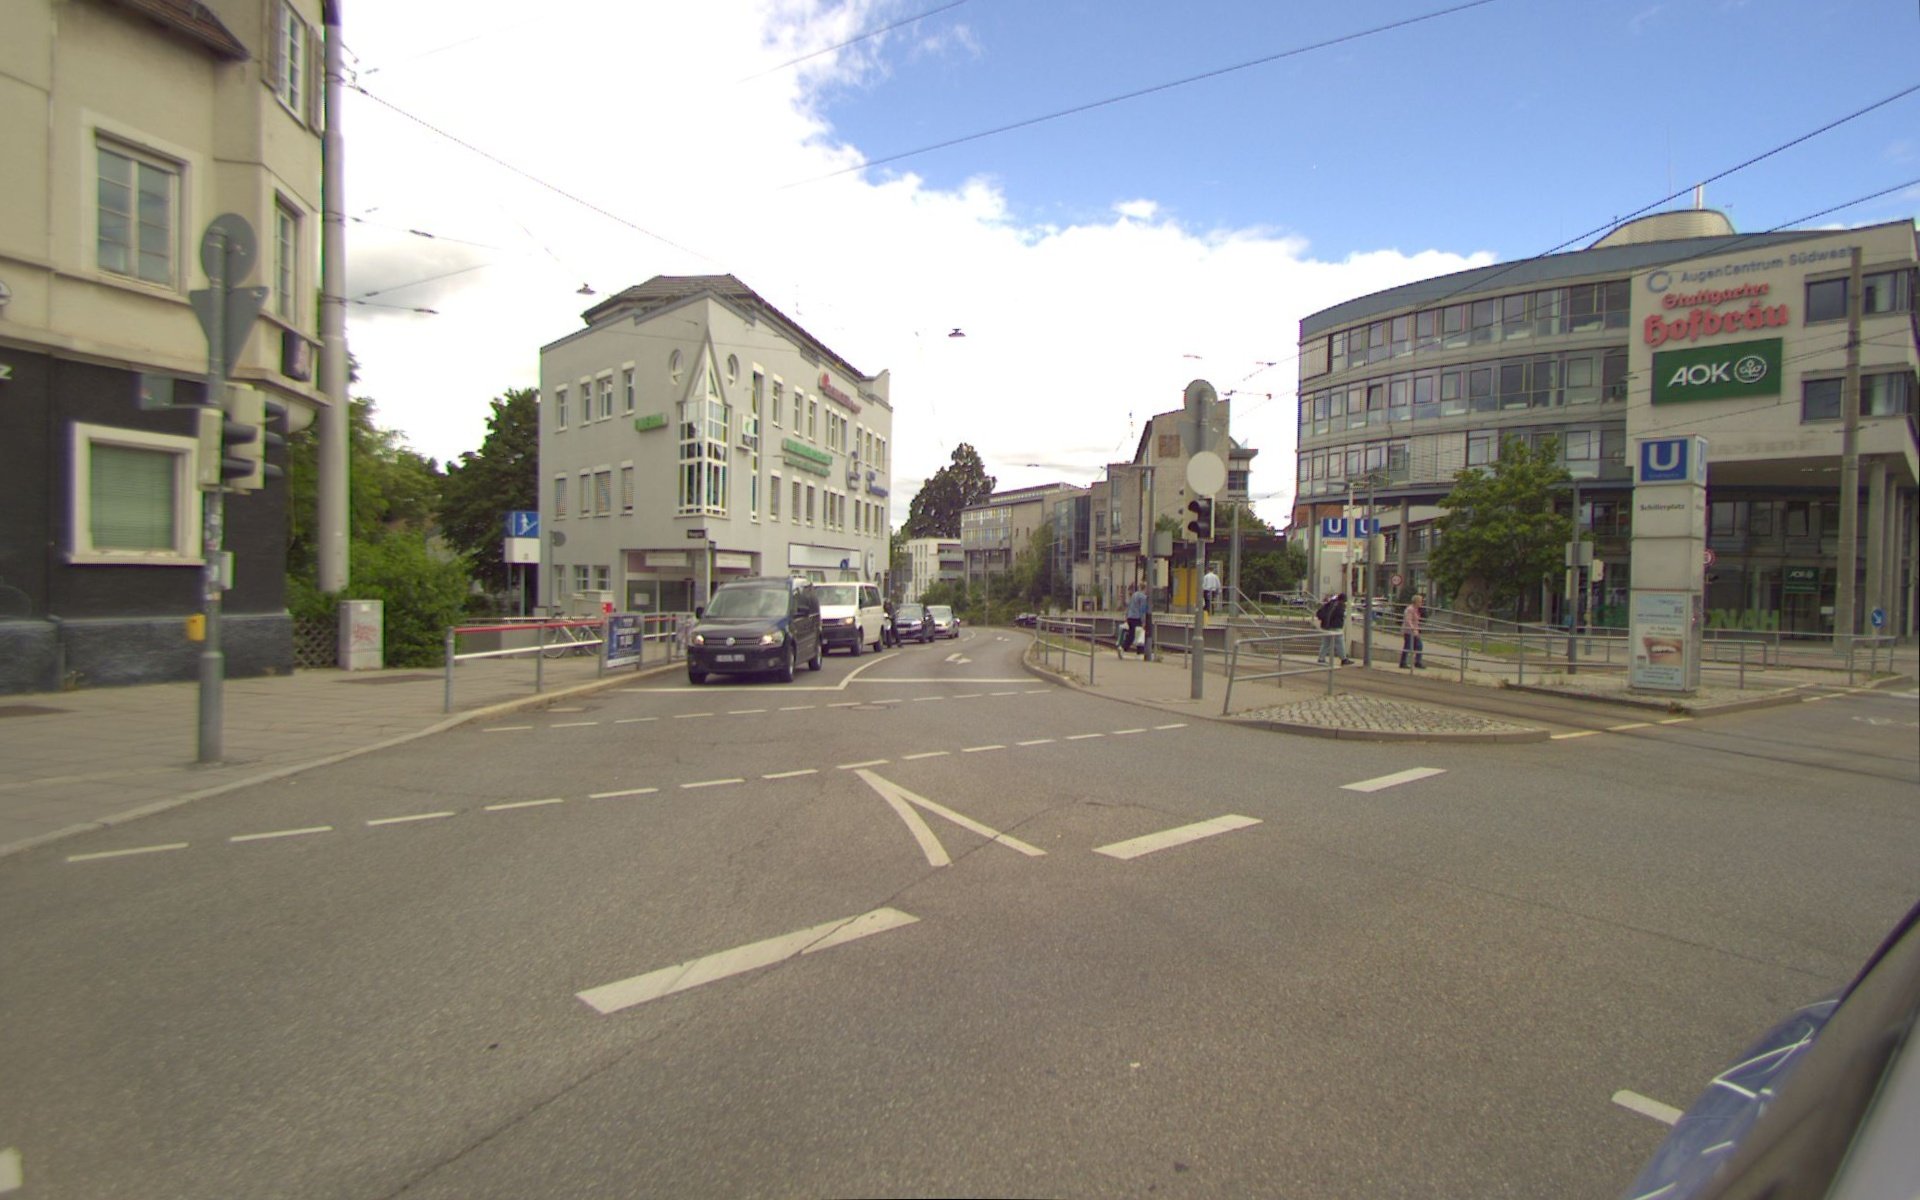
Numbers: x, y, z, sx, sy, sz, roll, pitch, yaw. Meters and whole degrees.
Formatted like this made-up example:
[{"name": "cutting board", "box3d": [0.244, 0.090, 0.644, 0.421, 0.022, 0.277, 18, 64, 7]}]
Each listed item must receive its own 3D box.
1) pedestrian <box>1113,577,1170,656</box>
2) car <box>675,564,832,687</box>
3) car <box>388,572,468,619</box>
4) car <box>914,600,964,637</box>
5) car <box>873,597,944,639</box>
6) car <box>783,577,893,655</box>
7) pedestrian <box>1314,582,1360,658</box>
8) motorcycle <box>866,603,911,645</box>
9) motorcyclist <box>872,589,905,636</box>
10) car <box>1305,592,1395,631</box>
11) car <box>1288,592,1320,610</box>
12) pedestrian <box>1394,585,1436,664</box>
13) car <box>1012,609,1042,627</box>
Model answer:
[{"name": "pedestrian", "box3d": [3.904, 0.341, 21.823, 0.791, 1.668, 0.889, 1, 1, -33]}, {"name": "car", "box3d": [-3.576, 0.361, 18.487, 1.845, 1.919, 4.928, 1, 1, 0]}, {"name": "car", "box3d": [-21.828, -0.228, 41.457, 1.849, 1.826, 4.221, 0, 1, -43]}, {"name": "car", "box3d": [-0.879, 0.783, 45.700, 1.846, 1.456, 4.746, 1, 1, 4]}, {"name": "car", "box3d": [-1.922, 0.692, 39.057, 1.849, 1.465, 4.773, 1, -1, 8]}, {"name": "car", "box3d": [-3.198, 0.351, 27.547, 1.848, 1.919, 4.919, 1, 1, 7]}, {"name": "pedestrian", "box3d": [8.389, 0.451, 22.537, 0.833, 1.656, 0.642, -1, -2, 13]}, {"name": "motorcycle", "box3d": [-2.320, 0.766, 33.028, 0.873, 1.244, 2.147, 1, 1, 12]}, {"name": "motorcyclist", "box3d": [-2.324, 0.403, 32.976, 0.875, 1.494, 0.804, 1, 1, 13]}, {"name": "car", "box3d": [18.375, 0.522, 47.938, 1.958, 1.732, 4.327, 1, 1, -11]}, {"name": "car", "box3d": [36.469, 0.085, 107.432, 1.963, 1.732, 4.317, 1, 0, 2]}, {"name": "pedestrian", "box3d": [9.748, 0.517, 21.697, 0.575, 1.656, 0.527, 0, -2, -19]}, {"name": "car", "box3d": [7.091, 1.906, 106.962, 1.958, 1.732, 4.327, 1, 1, -13]}]
